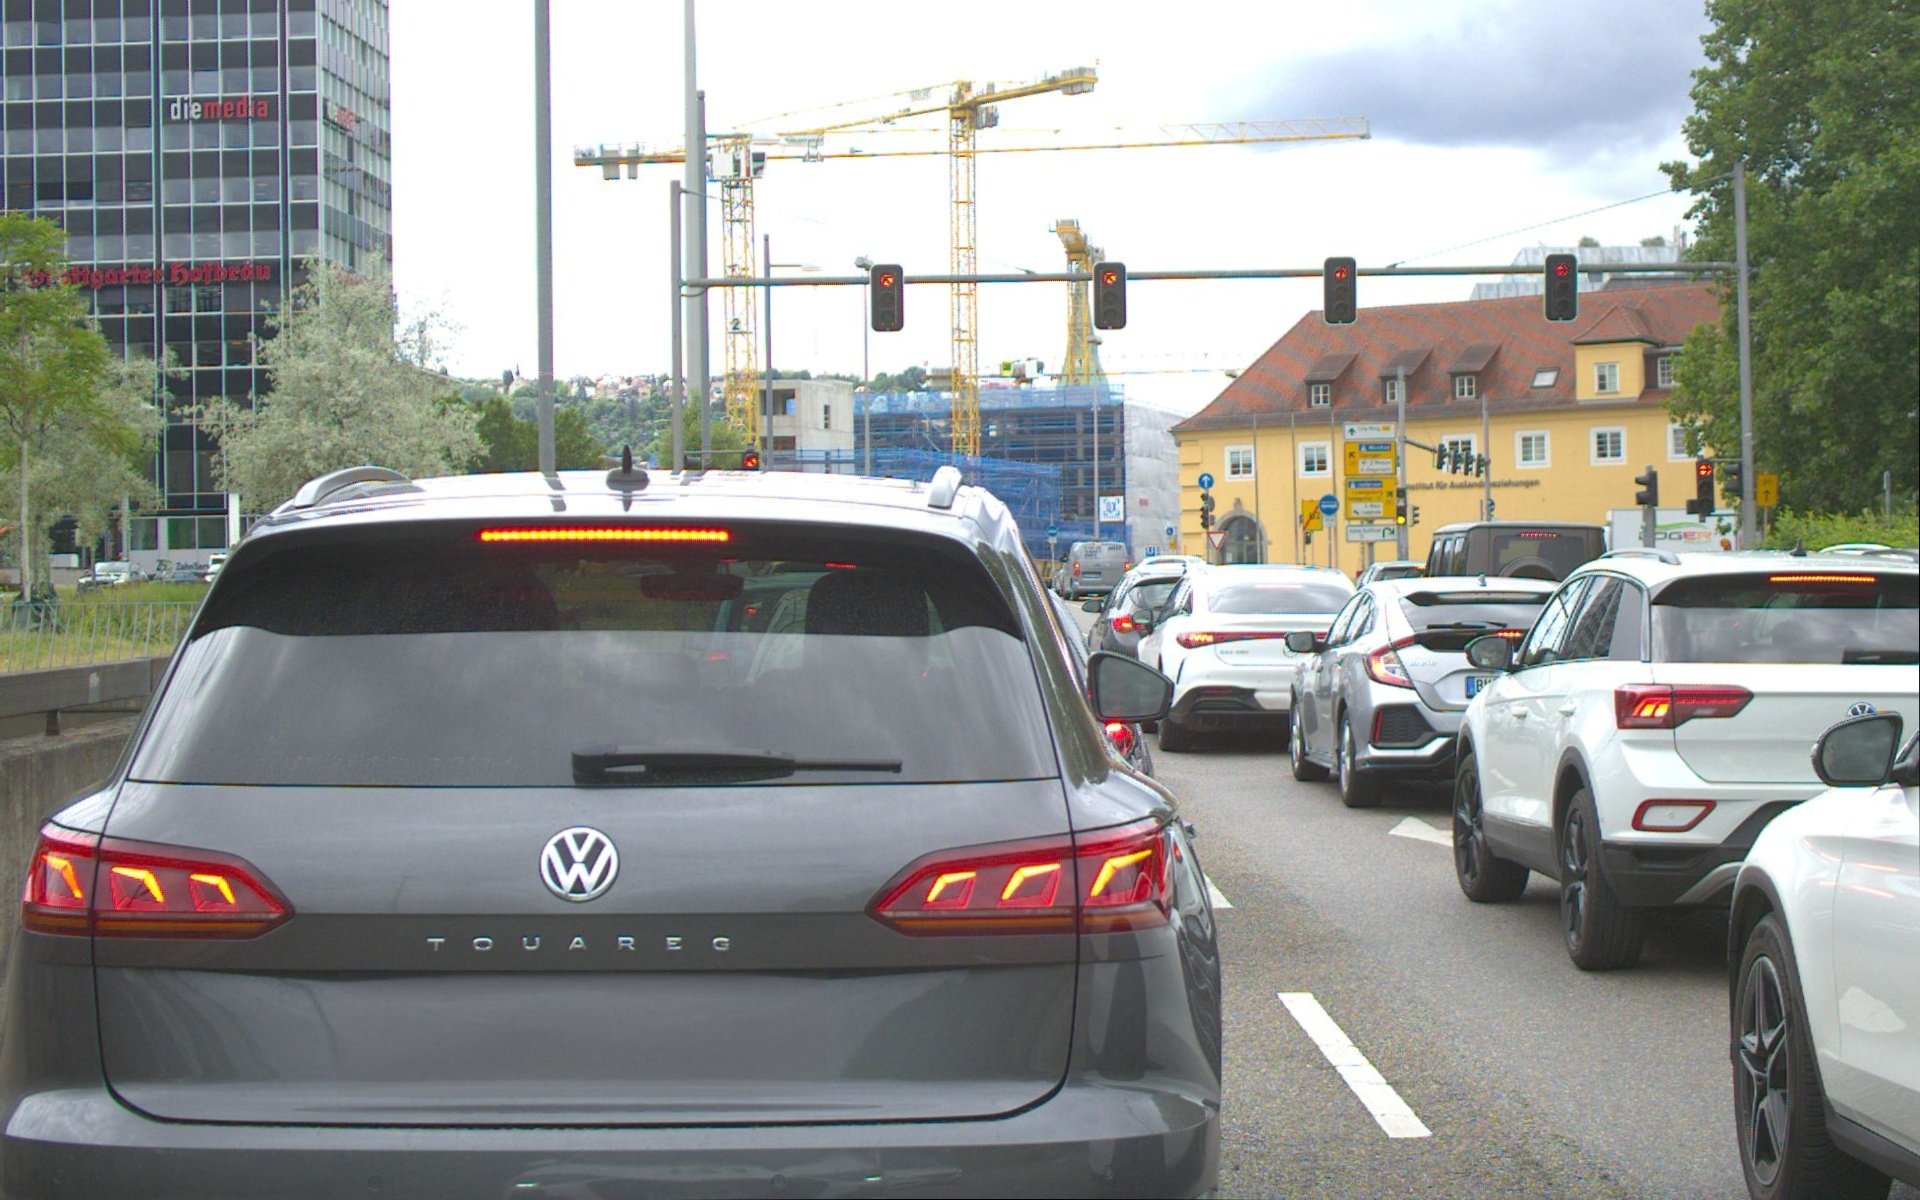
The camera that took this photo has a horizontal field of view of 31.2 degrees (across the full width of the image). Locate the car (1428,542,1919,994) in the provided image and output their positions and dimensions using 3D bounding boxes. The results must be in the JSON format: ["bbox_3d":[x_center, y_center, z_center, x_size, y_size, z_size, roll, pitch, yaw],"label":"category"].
[{"bbox_3d":[3.161,0.573,14.049,1.926,1.545,4.489,0,0,1],"label":"car"}]

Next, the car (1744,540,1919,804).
[{"bbox_3d":[6.781,0.412,23.554,1.994,1.634,4.304,0,1,2],"label":"car"}]

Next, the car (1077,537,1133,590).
[{"bbox_3d":[4.673,-1.171,111.400,1.619,1.622,4.000,1,-1,0],"label":"car"}]

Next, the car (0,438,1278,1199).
[{"bbox_3d":[-0.571,0.589,6.699,1.951,1.646,4.000,-1,1,-1],"label":"car"}]

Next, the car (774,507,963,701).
[{"bbox_3d":[-0.999,0.023,38.474,1.951,2.011,3.931,1,1,-1],"label":"car"}]

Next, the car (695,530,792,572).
[{"bbox_3d":[-10.775,-2.444,170.877,4.454,2.007,1.996,1,-1,34],"label":"car"}]

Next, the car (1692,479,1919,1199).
[{"bbox_3d":[2.734,0.607,6.161,1.926,1.648,4.490,0,1,1],"label":"car"}]

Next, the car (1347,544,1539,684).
[{"bbox_3d":[6.226,0.168,44.704,1.910,1.691,4.012,1,0,0],"label":"car"}]

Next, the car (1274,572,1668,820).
[{"bbox_3d":[3.171,0.551,22.211,1.926,1.427,4.489,0,0,1],"label":"car"}]

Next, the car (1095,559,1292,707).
[{"bbox_3d":[2.509,0.335,37.756,1.926,1.524,4.047,0,0,1],"label":"car"}]

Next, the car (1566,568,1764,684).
[{"bbox_3d":[9.340,0.320,45.793,1.757,1.442,3.634,1,0,-2],"label":"car"}]

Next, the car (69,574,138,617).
[{"bbox_3d":[-31.291,-0.159,125.670,1.732,1.489,3.595,1,-1,-2],"label":"car"}]

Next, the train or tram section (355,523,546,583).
[{"bbox_3d":[-27.010,-2.507,181.915,10.411,2.999,2.592,1,-1,28],"label":"train or tram section"}]

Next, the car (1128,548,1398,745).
[{"bbox_3d":[2.463,0.355,28.935,1.926,1.524,4.489,0,0,1],"label":"car"}]

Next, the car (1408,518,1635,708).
[{"bbox_3d":[6.331,0.137,39.176,1.910,2.007,4.012,1,0,0],"label":"car"}]

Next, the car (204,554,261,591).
[{"bbox_3d":[-30.915,-1.171,146.166,1.732,1.489,3.595,1,-1,-2],"label":"car"}]

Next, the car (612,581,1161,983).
[{"bbox_3d":[-0.294,0.648,14.382,1.951,1.379,3.931,1,1,-1],"label":"car"}]

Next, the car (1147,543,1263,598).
[{"bbox_3d":[9.482,-1.147,133.019,3.994,2.007,1.932,1,-1,30],"label":"car"}]

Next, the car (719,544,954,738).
[{"bbox_3d":[-1.071,0.322,31.019,1.951,1.594,3.931,1,1,-1],"label":"car"}]

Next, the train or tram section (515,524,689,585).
[{"bbox_3d":[-18.484,-2.348,177.382,8.935,2.999,2.592,1,-1,28],"label":"train or tram section"}]

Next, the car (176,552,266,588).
[{"bbox_3d":[-34.924,-1.421,162.353,4.222,1.598,1.749,1,0,36],"label":"car"}]

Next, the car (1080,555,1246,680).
[{"bbox_3d":[2.553,0.210,44.044,1.926,1.524,4.047,0,0,1],"label":"car"}]
